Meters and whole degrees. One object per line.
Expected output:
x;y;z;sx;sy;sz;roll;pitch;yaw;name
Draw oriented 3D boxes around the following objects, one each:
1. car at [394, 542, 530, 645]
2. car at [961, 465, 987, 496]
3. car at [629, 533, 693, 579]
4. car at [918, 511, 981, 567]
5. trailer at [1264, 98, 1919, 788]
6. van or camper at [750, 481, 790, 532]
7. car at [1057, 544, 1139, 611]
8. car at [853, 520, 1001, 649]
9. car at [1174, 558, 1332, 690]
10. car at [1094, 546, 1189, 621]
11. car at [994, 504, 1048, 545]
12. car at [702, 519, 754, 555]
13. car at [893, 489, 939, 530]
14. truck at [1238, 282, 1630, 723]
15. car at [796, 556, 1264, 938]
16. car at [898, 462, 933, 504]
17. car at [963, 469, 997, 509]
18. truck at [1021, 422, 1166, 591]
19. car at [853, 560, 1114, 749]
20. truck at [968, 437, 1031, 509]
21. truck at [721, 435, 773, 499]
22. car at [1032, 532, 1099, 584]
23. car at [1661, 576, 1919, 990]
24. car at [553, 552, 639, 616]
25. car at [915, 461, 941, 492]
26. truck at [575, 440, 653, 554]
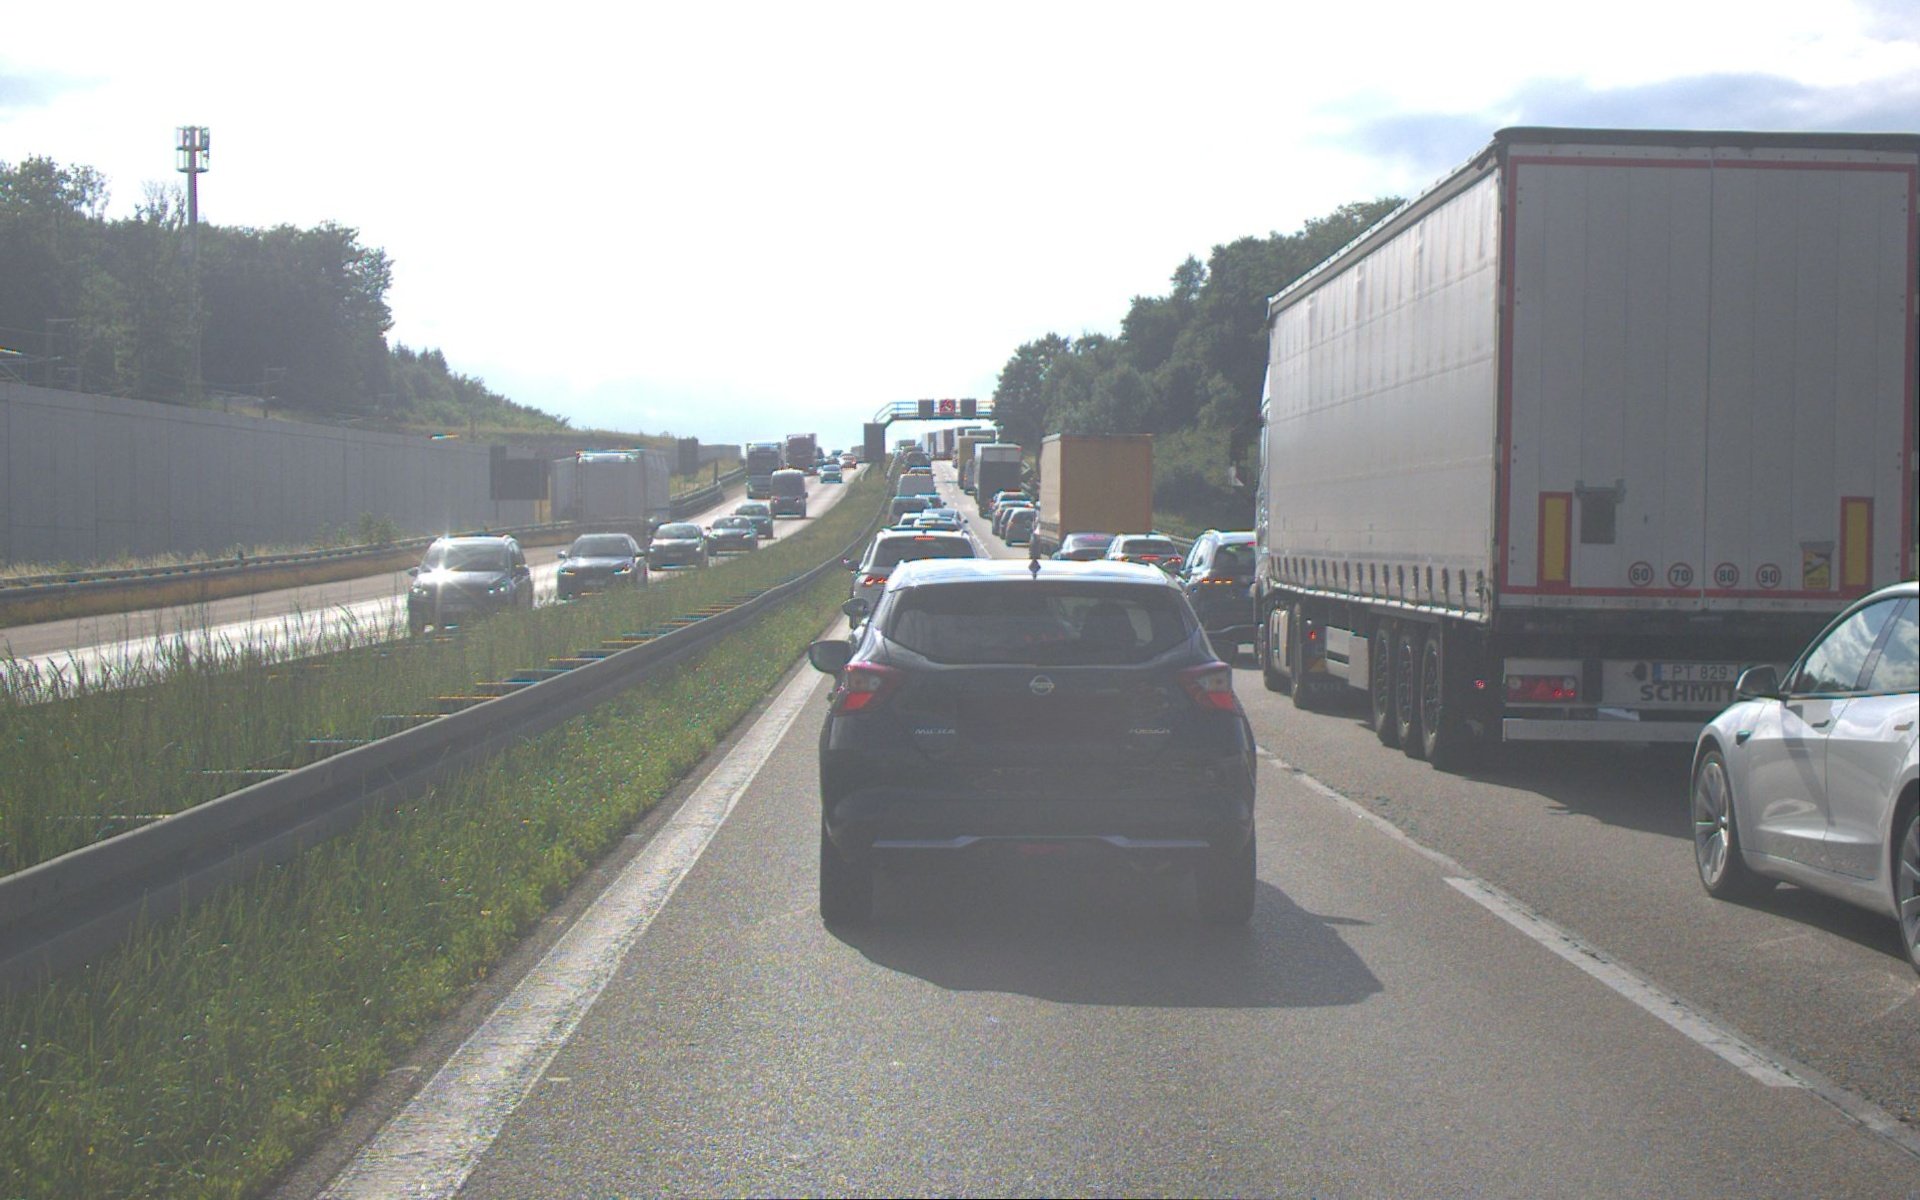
-8.613;-0.128;59.724;1.781;1.731;4.102;0;1;0;car
1.029;-8.875;254.798;1.873;2.151;5.212;0;3;-1;car
-9.737;-1.427;112.168;1.769;1.474;3.829;0;0;0;car
-0.324;-1.882;105.188;1.873;1.638;4.233;0;2;0;car
4.553;-0.894;26.748;3.130;3.997;13.366;1;0;0;trailer
-11.133;-5.489;201.985;2.090;2.810;5.896;1;0;-1;van or camper
3.464;-0.584;87.163;1.873;1.638;4.232;0;1;0;car
-0.434;-0.222;45.705;1.873;1.638;4.232;0;1;0;car
3.711;0.267;44.134;1.697;1.605;4.437;0;1;1;car
4.057;-0.387;77.333;1.873;1.638;4.232;0;1;0;car
2.528;-3.142;142.880;1.873;1.638;4.233;0;2;-4;car
-8.896;-2.402;131.993;1.742;1.353;4.232;0;1;0;car
-1.876;-3.822;144.580;1.873;1.638;4.233;0;2;-2;car
4.555;-0.893;34.109;3.133;4.002;5.163;1;0;0;truck
0.251;0.533;15.153;1.773;1.446;4.232;0;1;0;car
-2.447;-6.448;188.641;1.873;2.151;5.212;0;3;-1;car
1.160;-6.469;200.061;1.873;2.151;5.212;0;3;-1;car
3.764;-2.583;100.427;3.296;4.562;12.441;1;0;-2;truck
0.155;0.367;26.868;1.873;1.353;4.232;0;1;0;car
2.529;-8.321;225.350;3.464;4.561;12.443;1;2;-2;truck
-15.857;-9.888;257.029;3.297;4.561;12.442;0;1;-1;truck
3.407;-1.379;111.666;1.873;1.638;4.233;0;1;-2;car
4.133;0.627;13.211;1.788;1.389;4.437;0;1;-3;car
-8.804;-0.400;83.464;1.697;1.494;4.427;0;1;-1;car
-2.332;-9.025;251.630;1.873;2.151;5.212;0;3;-1;car
-13.025;-3.836;129.855;2.380;4.167;5.932;-1;1;-1;truck
